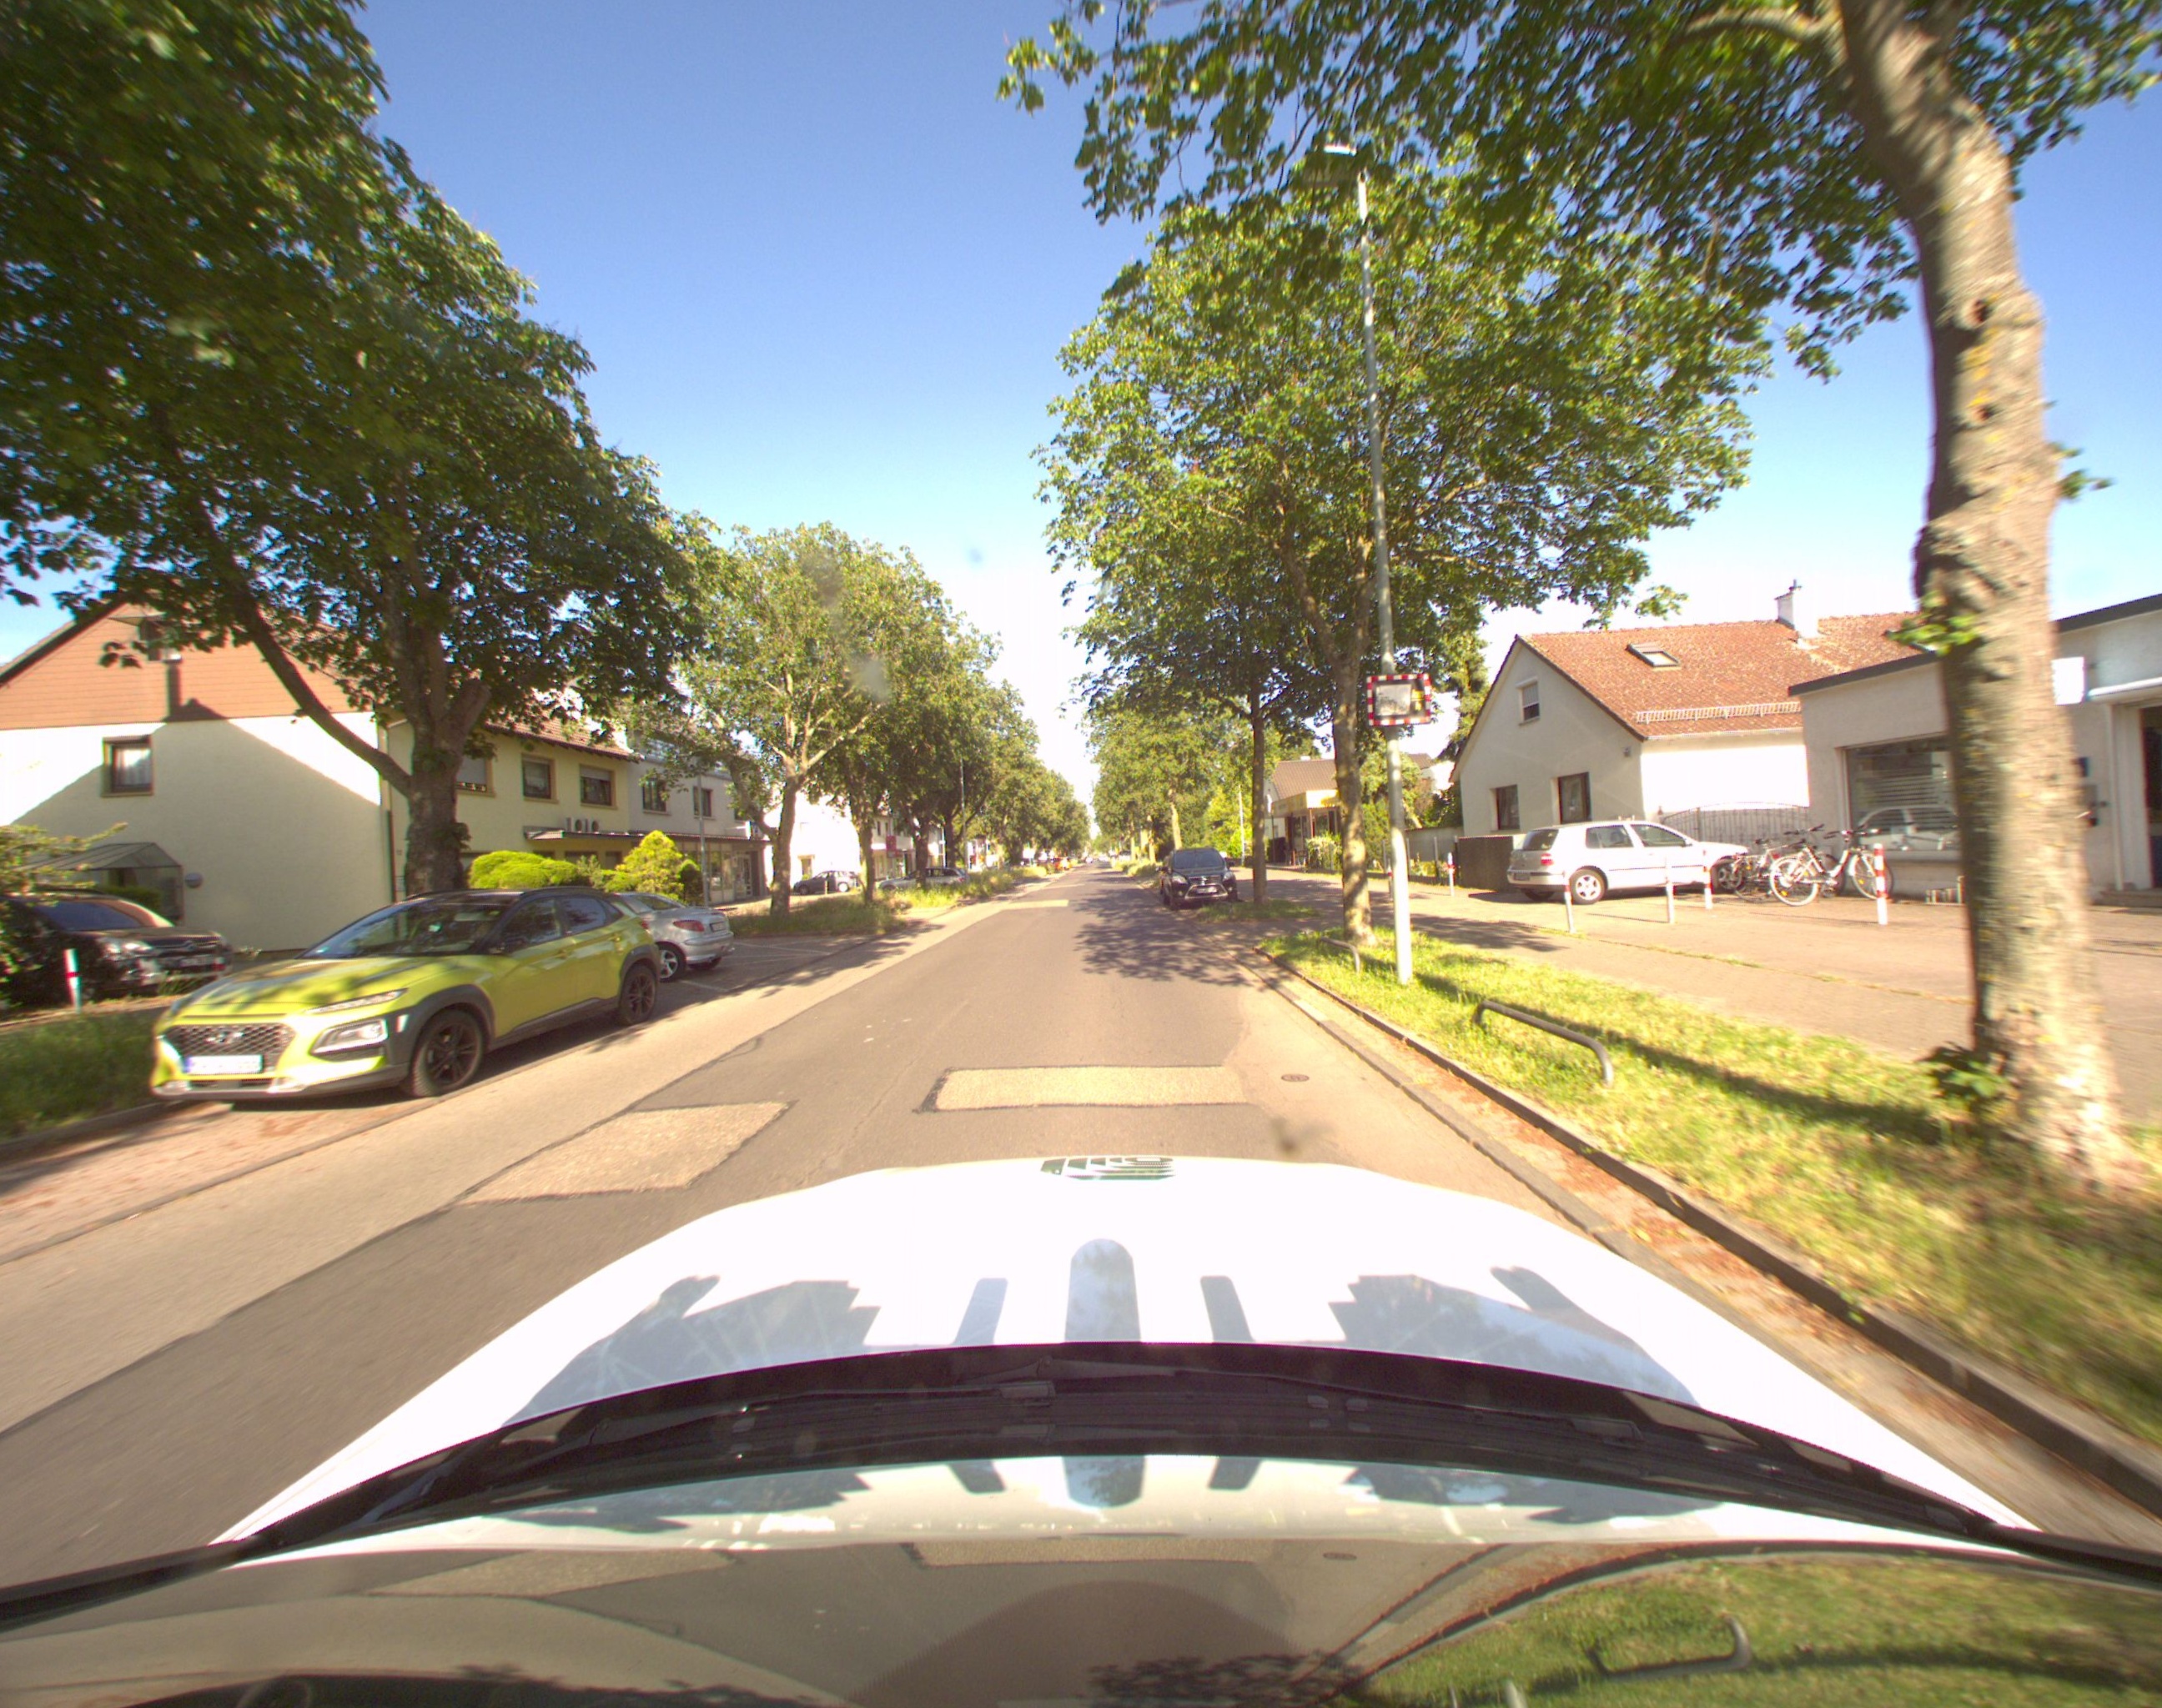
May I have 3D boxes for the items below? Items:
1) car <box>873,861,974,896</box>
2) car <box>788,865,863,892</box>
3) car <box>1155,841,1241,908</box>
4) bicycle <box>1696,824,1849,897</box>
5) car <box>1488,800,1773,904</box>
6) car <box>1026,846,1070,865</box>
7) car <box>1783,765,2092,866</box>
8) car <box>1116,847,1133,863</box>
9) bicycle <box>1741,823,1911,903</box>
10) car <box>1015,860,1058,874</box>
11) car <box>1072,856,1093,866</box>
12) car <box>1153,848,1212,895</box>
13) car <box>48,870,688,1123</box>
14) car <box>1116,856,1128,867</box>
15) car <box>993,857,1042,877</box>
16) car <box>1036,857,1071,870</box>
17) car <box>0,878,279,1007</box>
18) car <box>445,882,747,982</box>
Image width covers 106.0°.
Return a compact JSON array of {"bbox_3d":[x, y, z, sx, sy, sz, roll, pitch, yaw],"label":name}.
[{"bbox_3d":[-7.719,1.170,40.198,4.538,1.511,1.841,-2,1,1],"label":"car"},{"bbox_3d":[-17.837,1.693,56.958,4.544,1.617,1.998,-2,1,-3],"label":"car"},{"bbox_3d":[3.285,0.576,23.654,1.846,1.625,4.470,-4,-1,1],"label":"car"},{"bbox_3d":[11.031,0.097,13.021,1.917,0.998,0.576,-4,1,-1],"label":"bicycle"},{"bbox_3d":[10.069,-0.053,15.153,3.974,1.488,1.902,-5,1,0],"label":"car"},{"bbox_3d":[-4.251,0.200,105.683,5.481,2.247,2.516,-2,1,-1],"label":"car"},{"bbox_3d":[16.247,-0.717,15.607,3.977,1.488,1.901,-5,1,-2],"label":"car"},{"bbox_3d":[5.136,0.109,96.478,1.895,1.774,4.303,-1,0,2],"label":"car"},{"bbox_3d":[10.983,0.120,12.034,1.952,0.998,0.576,-4,1,-1],"label":"bicycle"},{"bbox_3d":[-4.578,1.314,83.785,4.278,1.315,1.907,-2,1,-4],"label":"car"},{"bbox_3d":[0.339,1.451,168.800,3.967,2.013,2.003,-1,1,5],"label":"car"},{"bbox_3d":[3.697,0.620,30.142,1.691,1.479,3.889,-5,-1,1],"label":"car"},{"bbox_3d":[-5.756,0.977,7.545,1.931,1.609,4.386,-1,-1,2],"label":"car"},{"bbox_3d":[6.778,1.237,134.849,1.895,1.774,4.303,-1,0,2],"label":"car"},{"bbox_3d":[-6.048,1.219,77.777,4.536,1.765,1.998,-2,1,-4],"label":"car"},{"bbox_3d":[-3.246,1.156,95.935,3.854,1.479,1.898,-1,0,7],"label":"car"},{"bbox_3d":[-15.819,1.347,12.788,4.225,1.713,1.997,-2,1,-4],"label":"car"},{"bbox_3d":[-7.550,1.193,12.926,3.752,1.301,1.612,-2,1,0],"label":"car"}]
